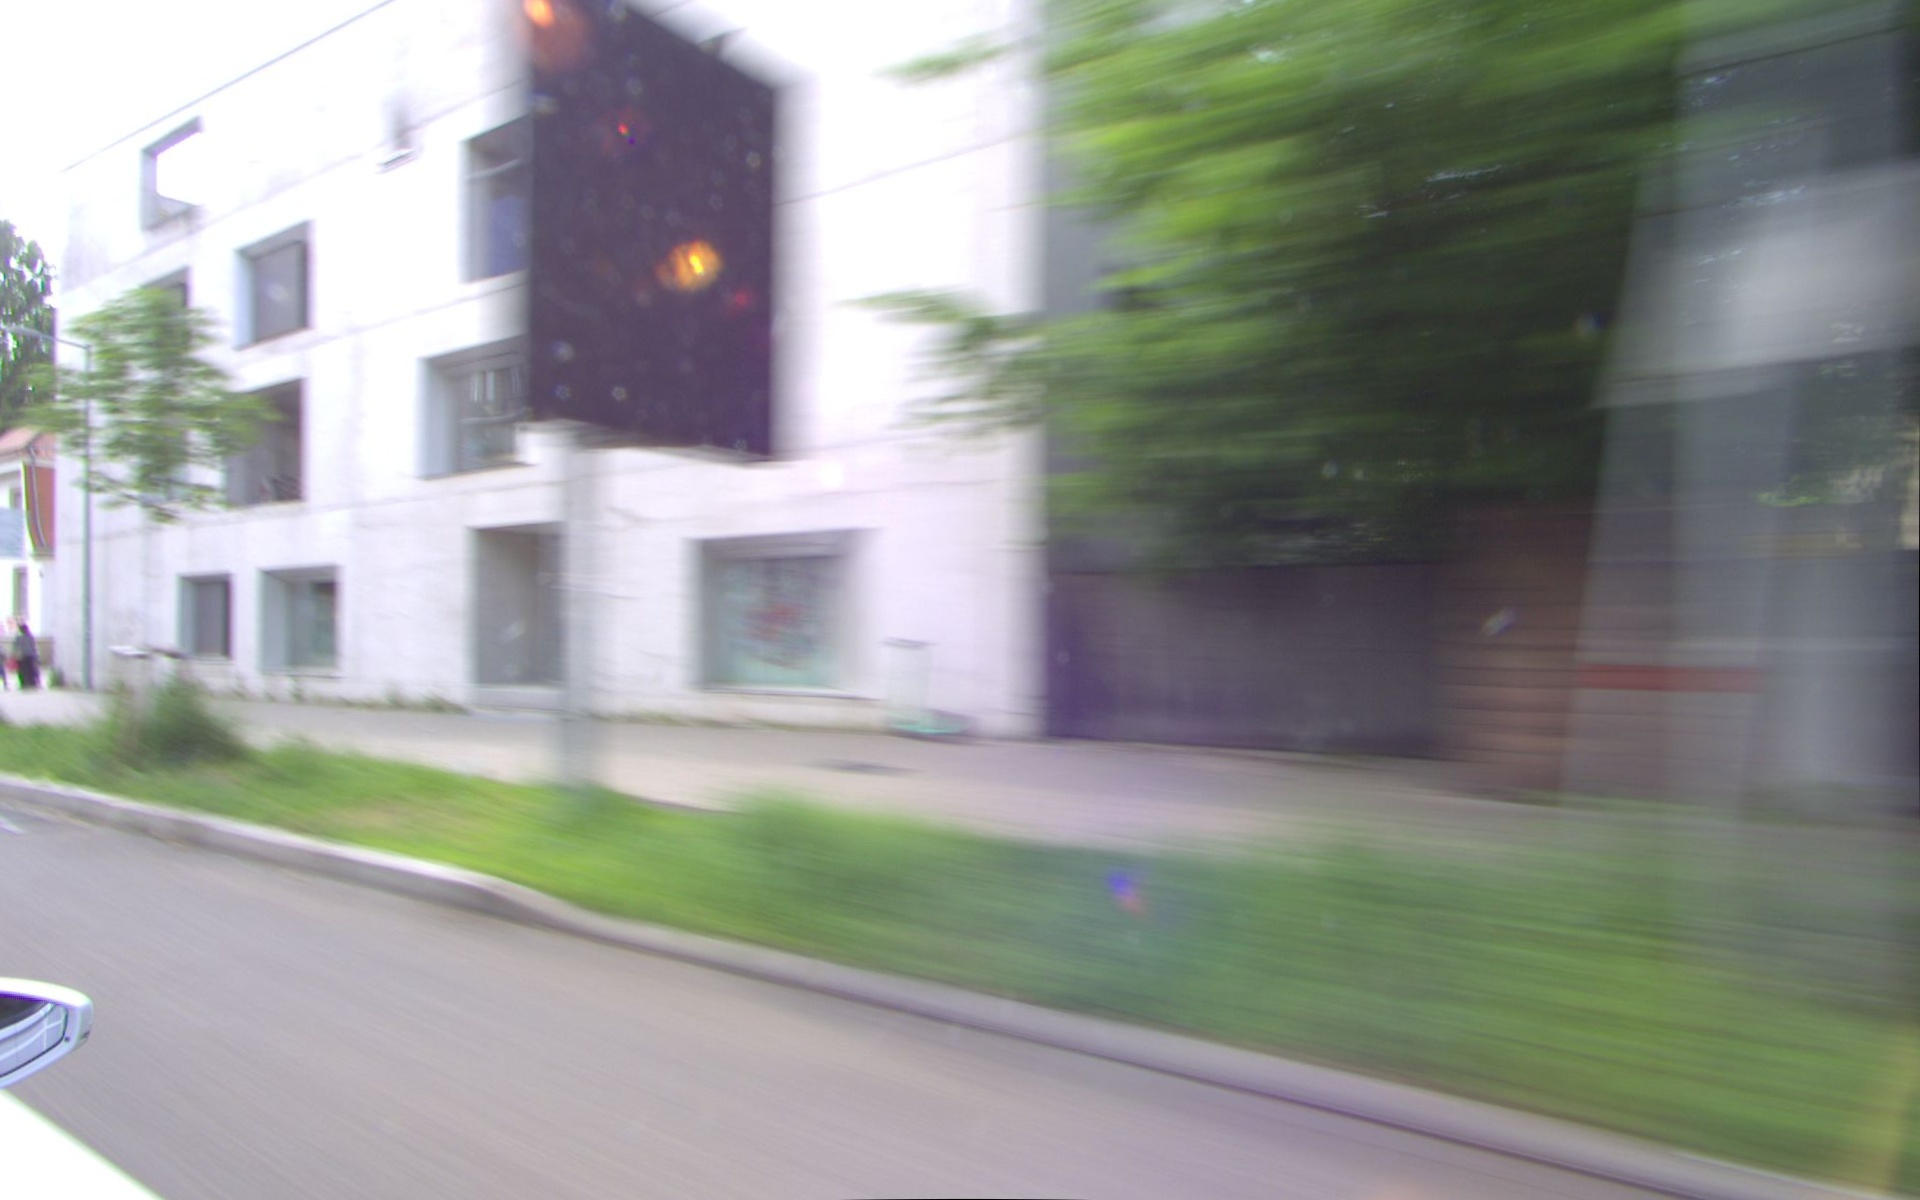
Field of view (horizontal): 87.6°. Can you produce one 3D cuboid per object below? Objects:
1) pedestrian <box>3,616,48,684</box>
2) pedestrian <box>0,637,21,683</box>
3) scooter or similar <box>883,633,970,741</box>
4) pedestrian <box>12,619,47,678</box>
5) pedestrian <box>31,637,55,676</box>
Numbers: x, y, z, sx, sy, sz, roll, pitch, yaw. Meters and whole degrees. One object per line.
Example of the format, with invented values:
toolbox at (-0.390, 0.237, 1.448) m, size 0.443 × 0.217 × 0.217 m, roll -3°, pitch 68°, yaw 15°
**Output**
pedestrian at (-24.726, 1.308, 26.502) m, size 0.736 × 1.748 × 0.683 m, roll 1°, pitch 2°, yaw 32°
pedestrian at (-25.944, 1.629, 27.247) m, size 0.398 × 1.217 × 0.422 m, roll 0°, pitch 2°, yaw -9°
scooter or similar at (-0.403, 0.987, 11.678) m, size 1.136 × 1.196 × 0.320 m, roll -1°, pitch -1°, yaw 44°
pedestrian at (-25.828, 1.345, 27.805) m, size 0.539 × 1.602 × 0.519 m, roll 1°, pitch 2°, yaw 21°
pedestrian at (-25.251, 1.556, 27.588) m, size 0.390 × 1.024 × 0.342 m, roll 1°, pitch 2°, yaw 22°
